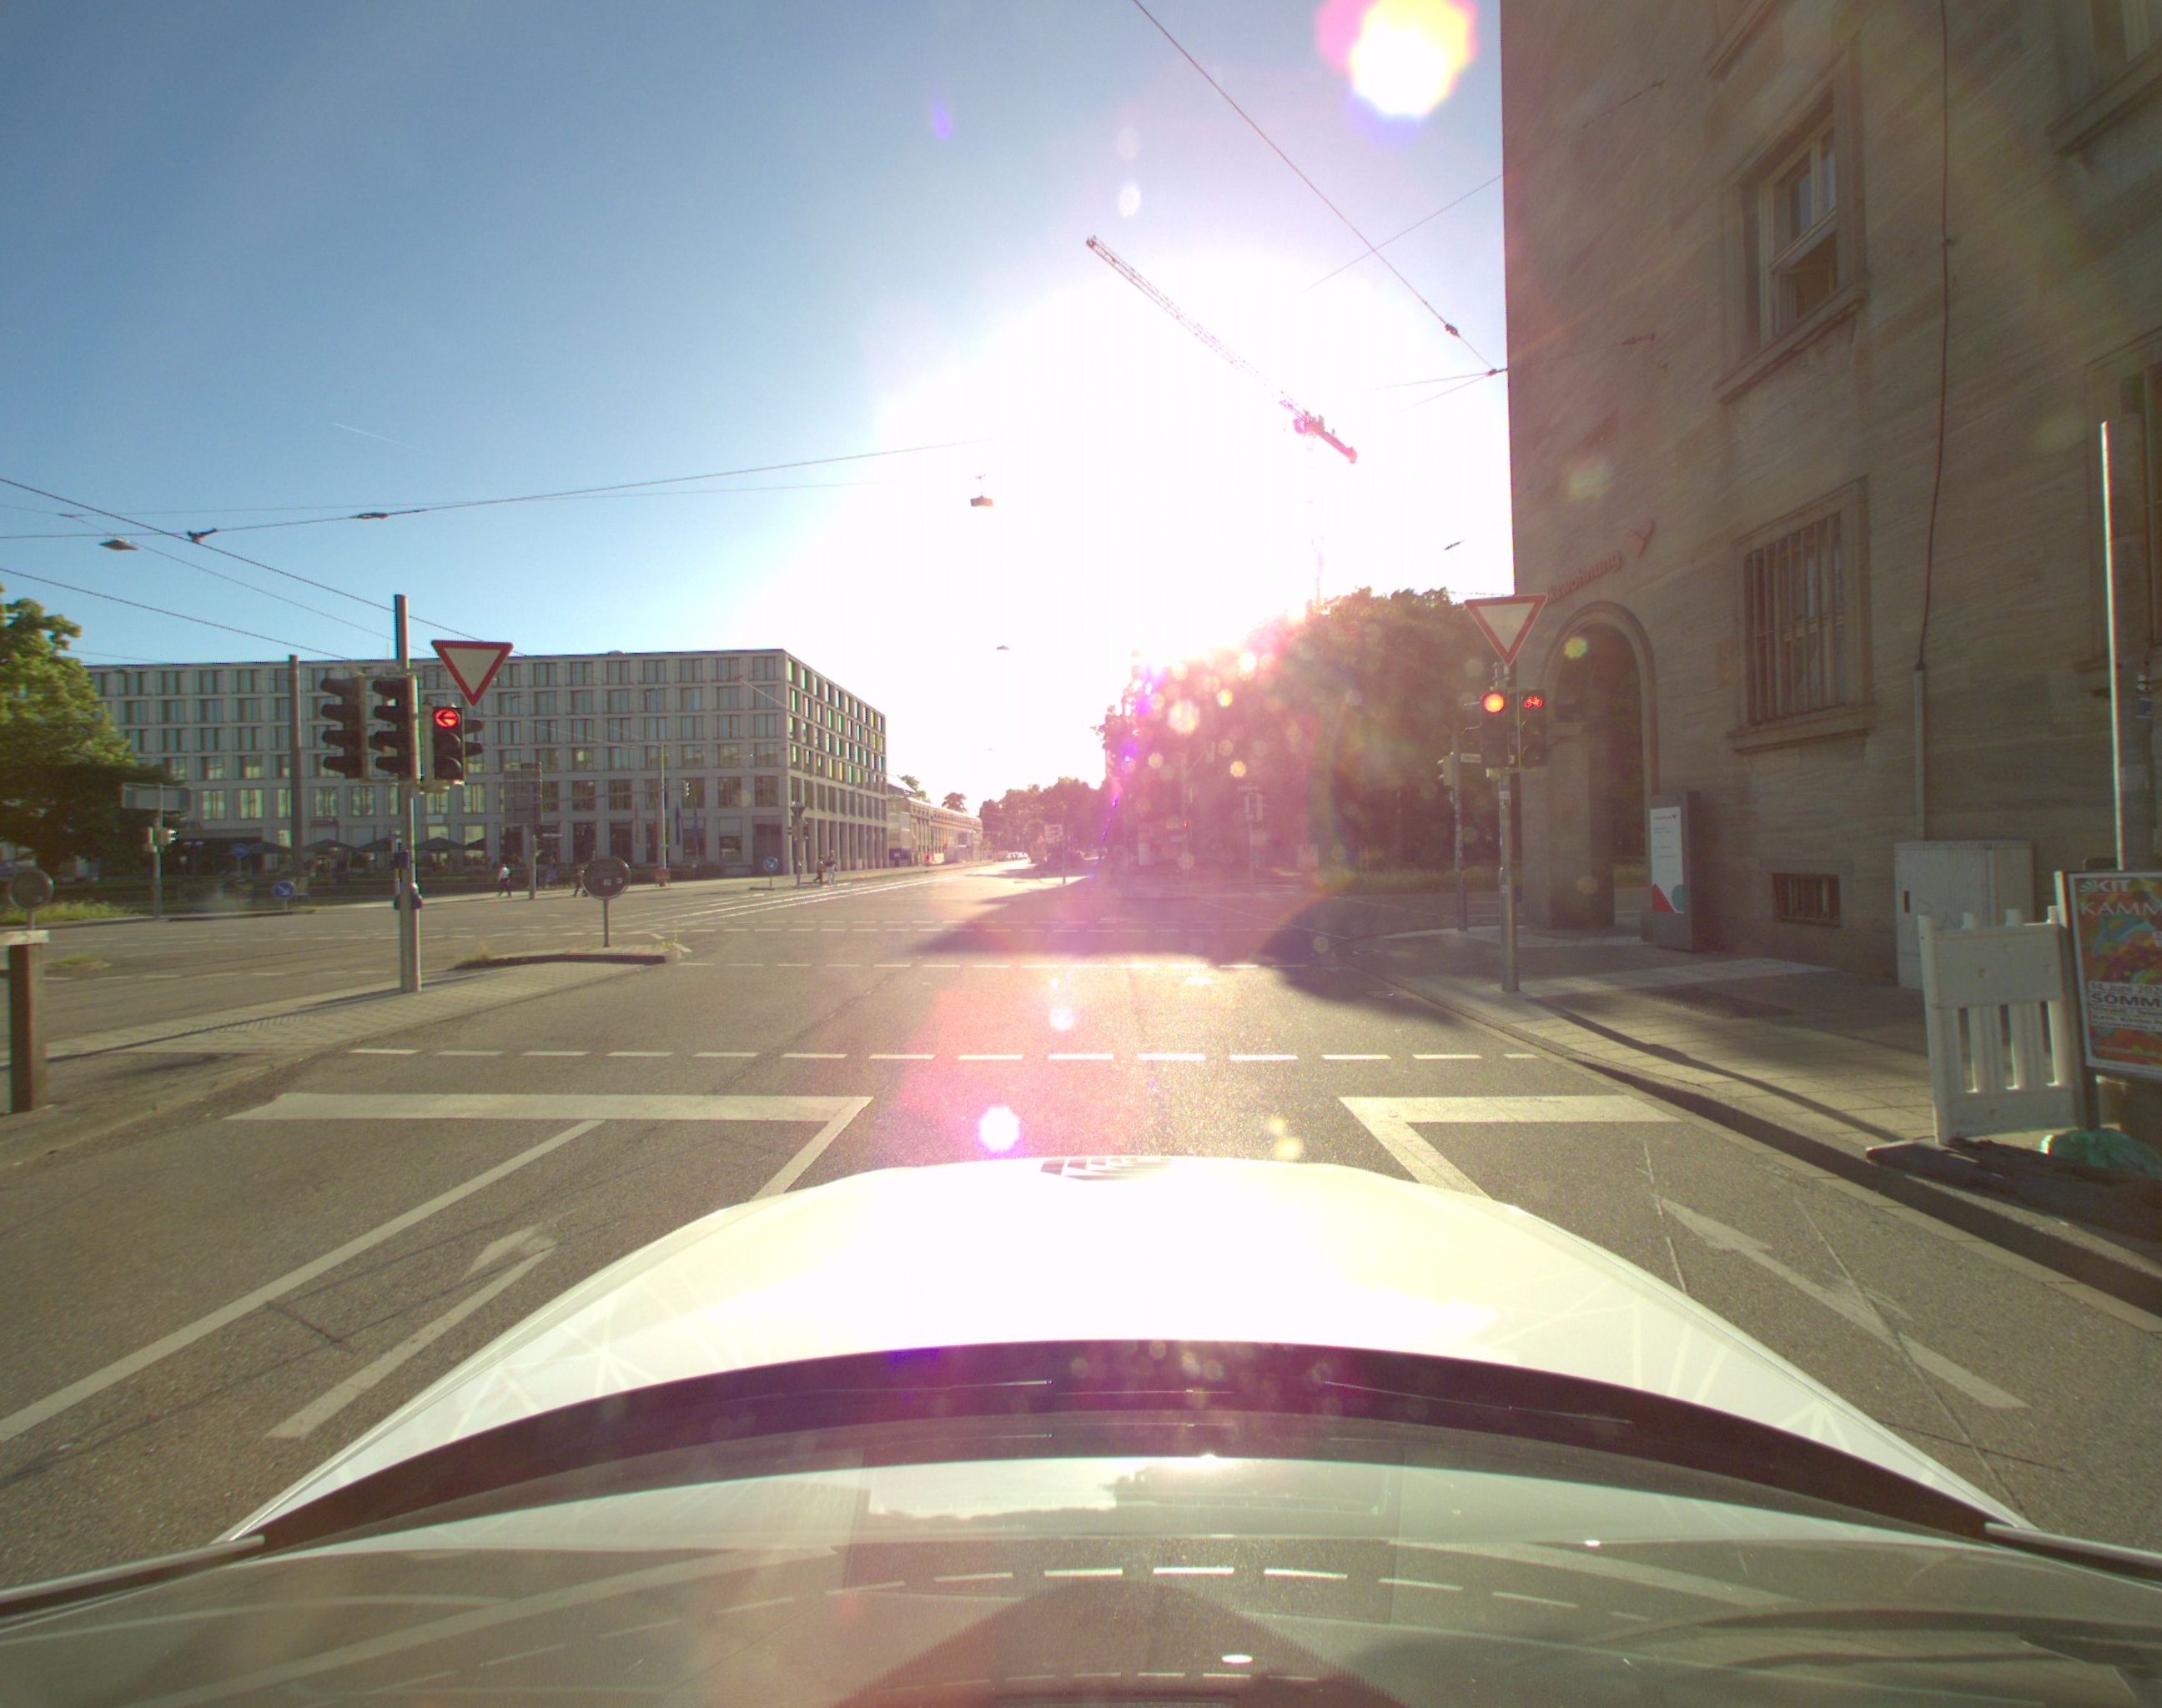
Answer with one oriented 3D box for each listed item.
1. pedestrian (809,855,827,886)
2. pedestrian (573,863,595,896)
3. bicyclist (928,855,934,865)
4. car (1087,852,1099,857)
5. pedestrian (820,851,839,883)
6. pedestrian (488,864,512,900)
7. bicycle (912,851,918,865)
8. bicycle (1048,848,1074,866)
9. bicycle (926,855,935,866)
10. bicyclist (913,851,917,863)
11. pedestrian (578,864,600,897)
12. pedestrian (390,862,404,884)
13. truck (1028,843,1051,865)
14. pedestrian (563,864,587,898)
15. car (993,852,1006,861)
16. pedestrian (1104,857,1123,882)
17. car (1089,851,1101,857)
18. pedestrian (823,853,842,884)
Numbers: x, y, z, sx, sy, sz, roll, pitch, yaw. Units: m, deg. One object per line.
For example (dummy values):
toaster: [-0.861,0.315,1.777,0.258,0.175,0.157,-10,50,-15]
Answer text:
pedestrian: [-14.380,0.906,44.557,0.691,1.644,0.622,-2,0,2]
pedestrian: [-27.951,1.440,45.782,0.735,1.803,0.717,-2,0,7]
bicyclist: [-20.734,0.855,112.454,0.687,1.328,1.000,0,-1,2]
car: [3.187,0.048,211.334,3.207,1.263,1.373,0,-1,0]
pedestrian: [-13.977,0.725,45.254,0.744,1.761,0.679,-2,-1,6]
pedestrian: [-31.573,1.504,44.244,0.797,1.918,0.638,-2,0,7]
bicycle: [-26.722,0.631,131.091,0.569,2.296,1.422,-2,0,0]
bicycle: [-2.012,0.328,81.572,2.538,1.744,1.038,0,-1,1]
bicycle: [-20.784,0.950,112.384,0.687,1.511,2.945,0,-1,2]
bicyclist: [-26.722,0.504,131.071,0.569,2.024,0.762,-2,0,0]
pedestrian: [-27.229,1.474,45.100,0.865,1.803,0.533,-2,0,7]
pedestrian: [-51.078,1.418,60.848,0.538,1.669,0.561,0,-1,-2]
truck: [-6.008,-0.025,118.155,2.706,3.016,6.492,-1,0,2]
pedestrian: [-27.599,1.462,44.412,0.865,1.803,0.665,-2,0,7]
car: [-15.705,0.510,156.950,1.888,1.607,4.499,-2,0,0]
pedestrian: [1.716,0.830,43.723,0.765,1.317,0.992,-2,0,-13]
car: [3.657,-0.086,213.615,3.207,1.588,1.445,0,-1,-3]
pedestrian: [-13.278,0.764,43.482,0.790,1.644,0.621,-2,0,-3]
